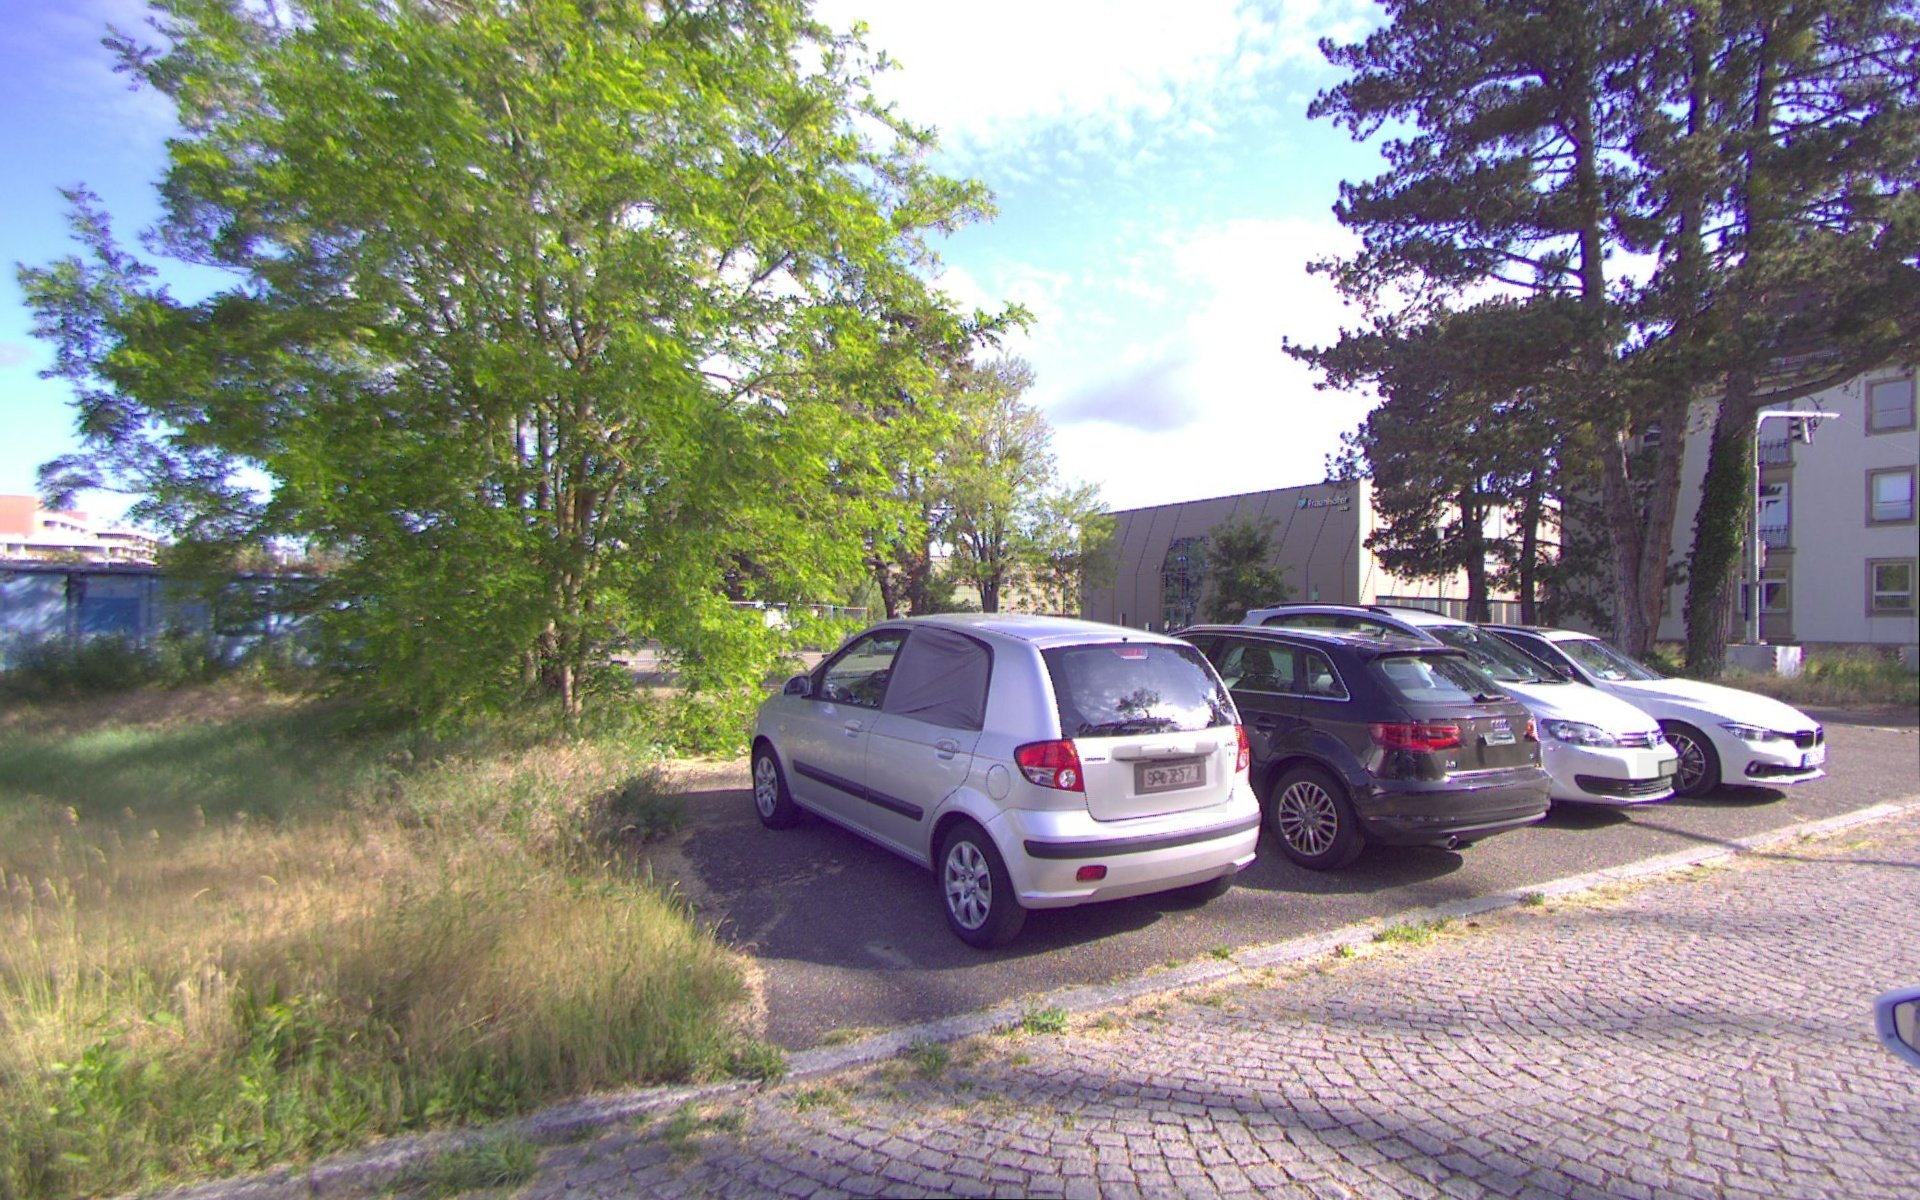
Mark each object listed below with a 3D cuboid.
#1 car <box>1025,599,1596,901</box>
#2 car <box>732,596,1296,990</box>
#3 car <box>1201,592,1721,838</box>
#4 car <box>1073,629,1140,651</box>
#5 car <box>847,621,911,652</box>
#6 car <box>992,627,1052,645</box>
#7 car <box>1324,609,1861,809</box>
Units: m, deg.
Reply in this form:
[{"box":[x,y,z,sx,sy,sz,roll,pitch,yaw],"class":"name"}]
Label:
[{"box":[2.271,0.828,7.471,1.669,1.490,3.776,1,1,-32],"class":"car"},{"box":[0.035,0.801,5.990,1.619,1.490,3.444,1,2,-33],"class":"car"},{"box":[4.320,0.824,9.254,1.705,1.648,3.917,1,1,-35],"class":"car"},{"box":[9.032,2.472,61.805,4.001,1.311,1.481,1,-1,-29],"class":"car"},{"box":[-3.895,1.732,47.770,1.726,1.388,3.595,1,-1,-28],"class":"car"},{"box":[4.331,2.492,69.834,3.950,1.221,1.481,1,-1,-28],"class":"car"},{"box":[6.364,0.933,10.708,1.734,1.487,4.513,1,1,-33],"class":"car"}]
